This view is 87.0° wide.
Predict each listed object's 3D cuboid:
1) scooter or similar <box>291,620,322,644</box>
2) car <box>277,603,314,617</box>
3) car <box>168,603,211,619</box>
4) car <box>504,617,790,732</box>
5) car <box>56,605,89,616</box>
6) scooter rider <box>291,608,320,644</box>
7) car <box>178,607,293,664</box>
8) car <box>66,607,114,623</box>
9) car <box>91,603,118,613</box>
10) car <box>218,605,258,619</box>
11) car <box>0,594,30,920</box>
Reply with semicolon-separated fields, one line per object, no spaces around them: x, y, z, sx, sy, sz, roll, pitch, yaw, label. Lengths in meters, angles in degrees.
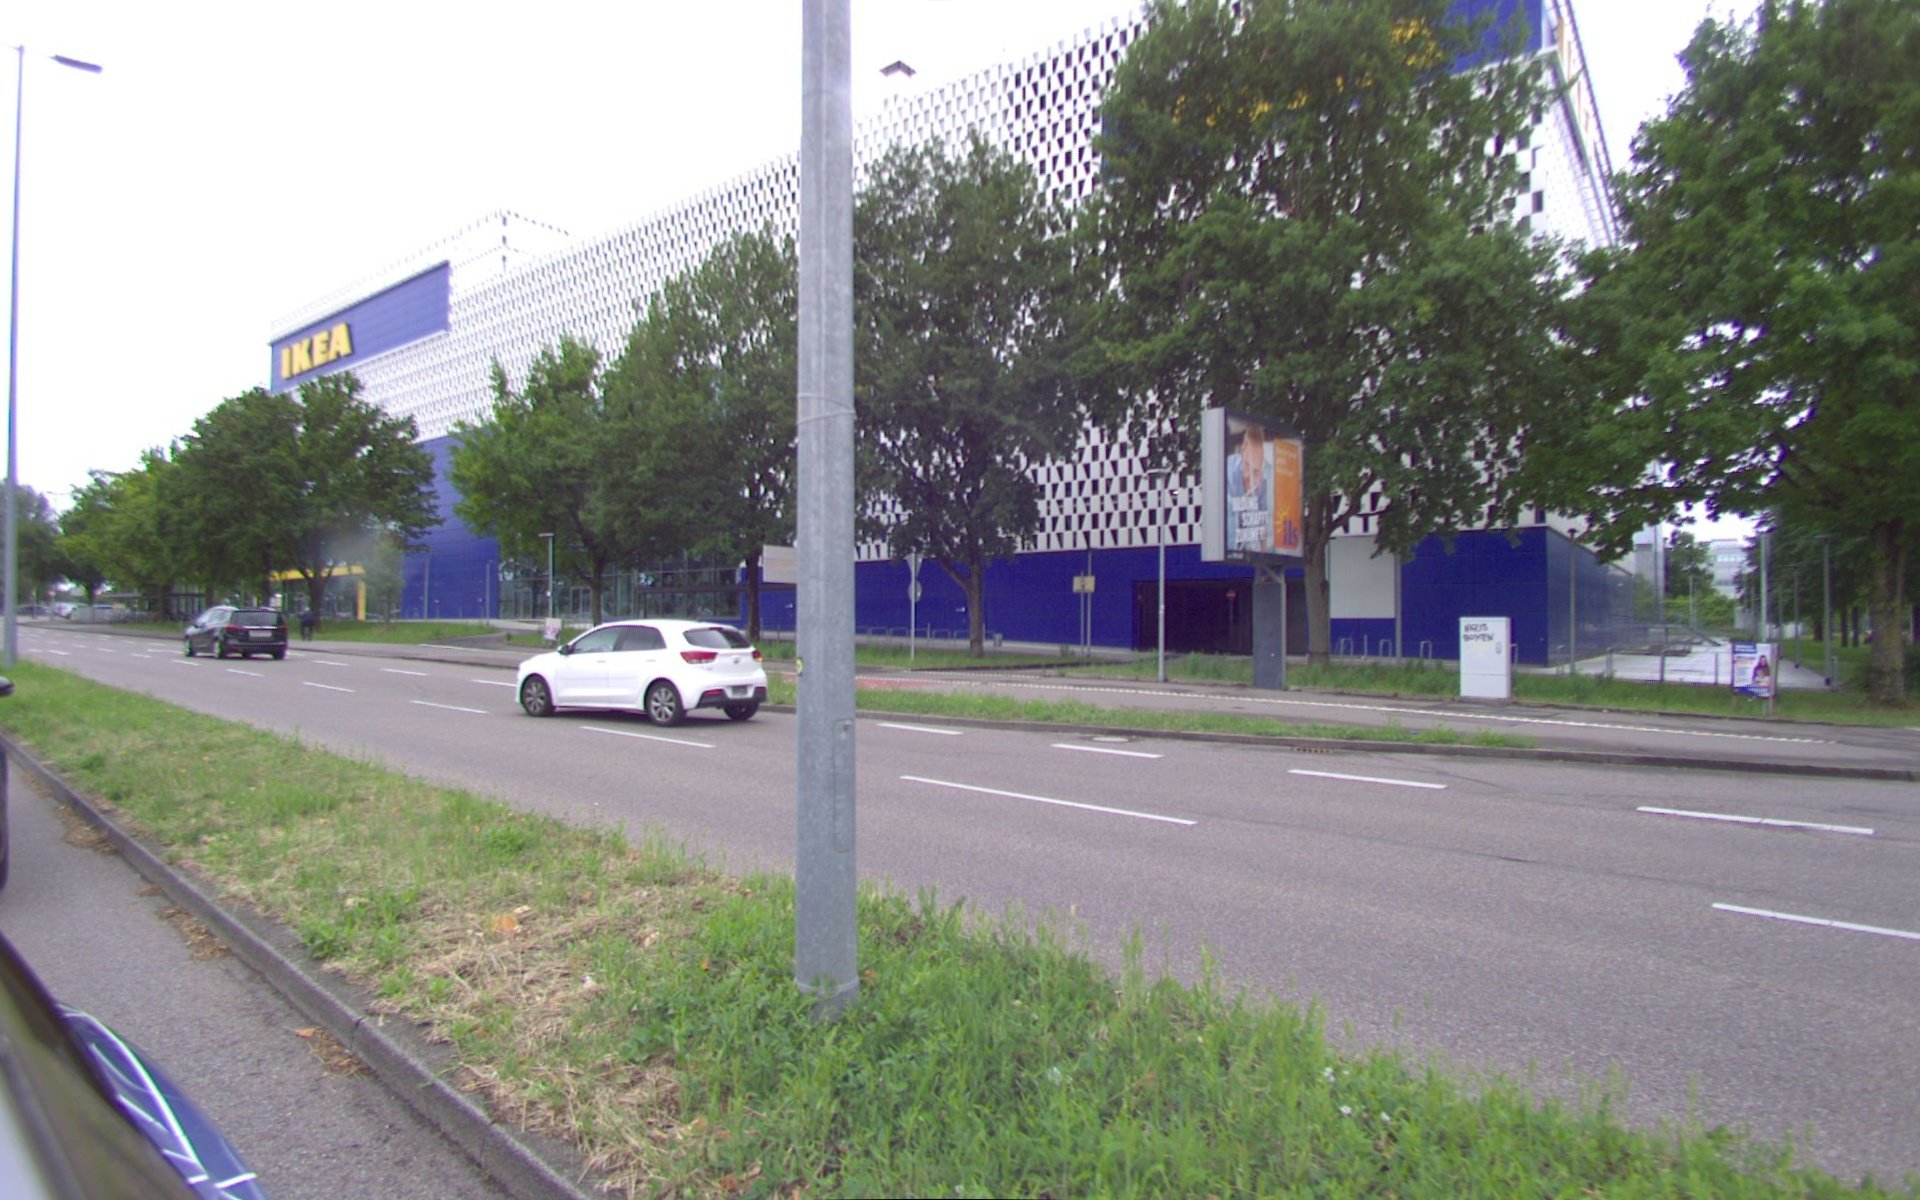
-32.533;1.581;50.364;1.417;1.134;0.585;0;2;25;scooter or similar
-93.831;1.380;142.872;1.994;1.829;3.955;0;1;33;car
-87.078;1.227;114.432;1.741;1.652;3.522;0;1;37;car
-4.608;1.012;14.824;3.915;1.463;1.770;0;-2;29;car
-161.480;1.864;184.096;1.741;1.837;4.239;0;1;37;car
-32.570;1.285;50.384;1.033;1.733;0.791;0;0;25;scooter rider
-23.084;1.113;32.201;4.356;1.668;1.824;0;-3;39;car
-103.701;1.836;120.686;1.995;1.810;3.953;-1;-2;35;car
-158.718;1.467;187.760;1.741;1.652;3.522;0;1;37;car
-97.859;1.558;137.233;1.994;1.829;3.955;0;1;33;car
-6.372;0.744;5.268;4.195;1.445;1.835;-1;0;42;car
